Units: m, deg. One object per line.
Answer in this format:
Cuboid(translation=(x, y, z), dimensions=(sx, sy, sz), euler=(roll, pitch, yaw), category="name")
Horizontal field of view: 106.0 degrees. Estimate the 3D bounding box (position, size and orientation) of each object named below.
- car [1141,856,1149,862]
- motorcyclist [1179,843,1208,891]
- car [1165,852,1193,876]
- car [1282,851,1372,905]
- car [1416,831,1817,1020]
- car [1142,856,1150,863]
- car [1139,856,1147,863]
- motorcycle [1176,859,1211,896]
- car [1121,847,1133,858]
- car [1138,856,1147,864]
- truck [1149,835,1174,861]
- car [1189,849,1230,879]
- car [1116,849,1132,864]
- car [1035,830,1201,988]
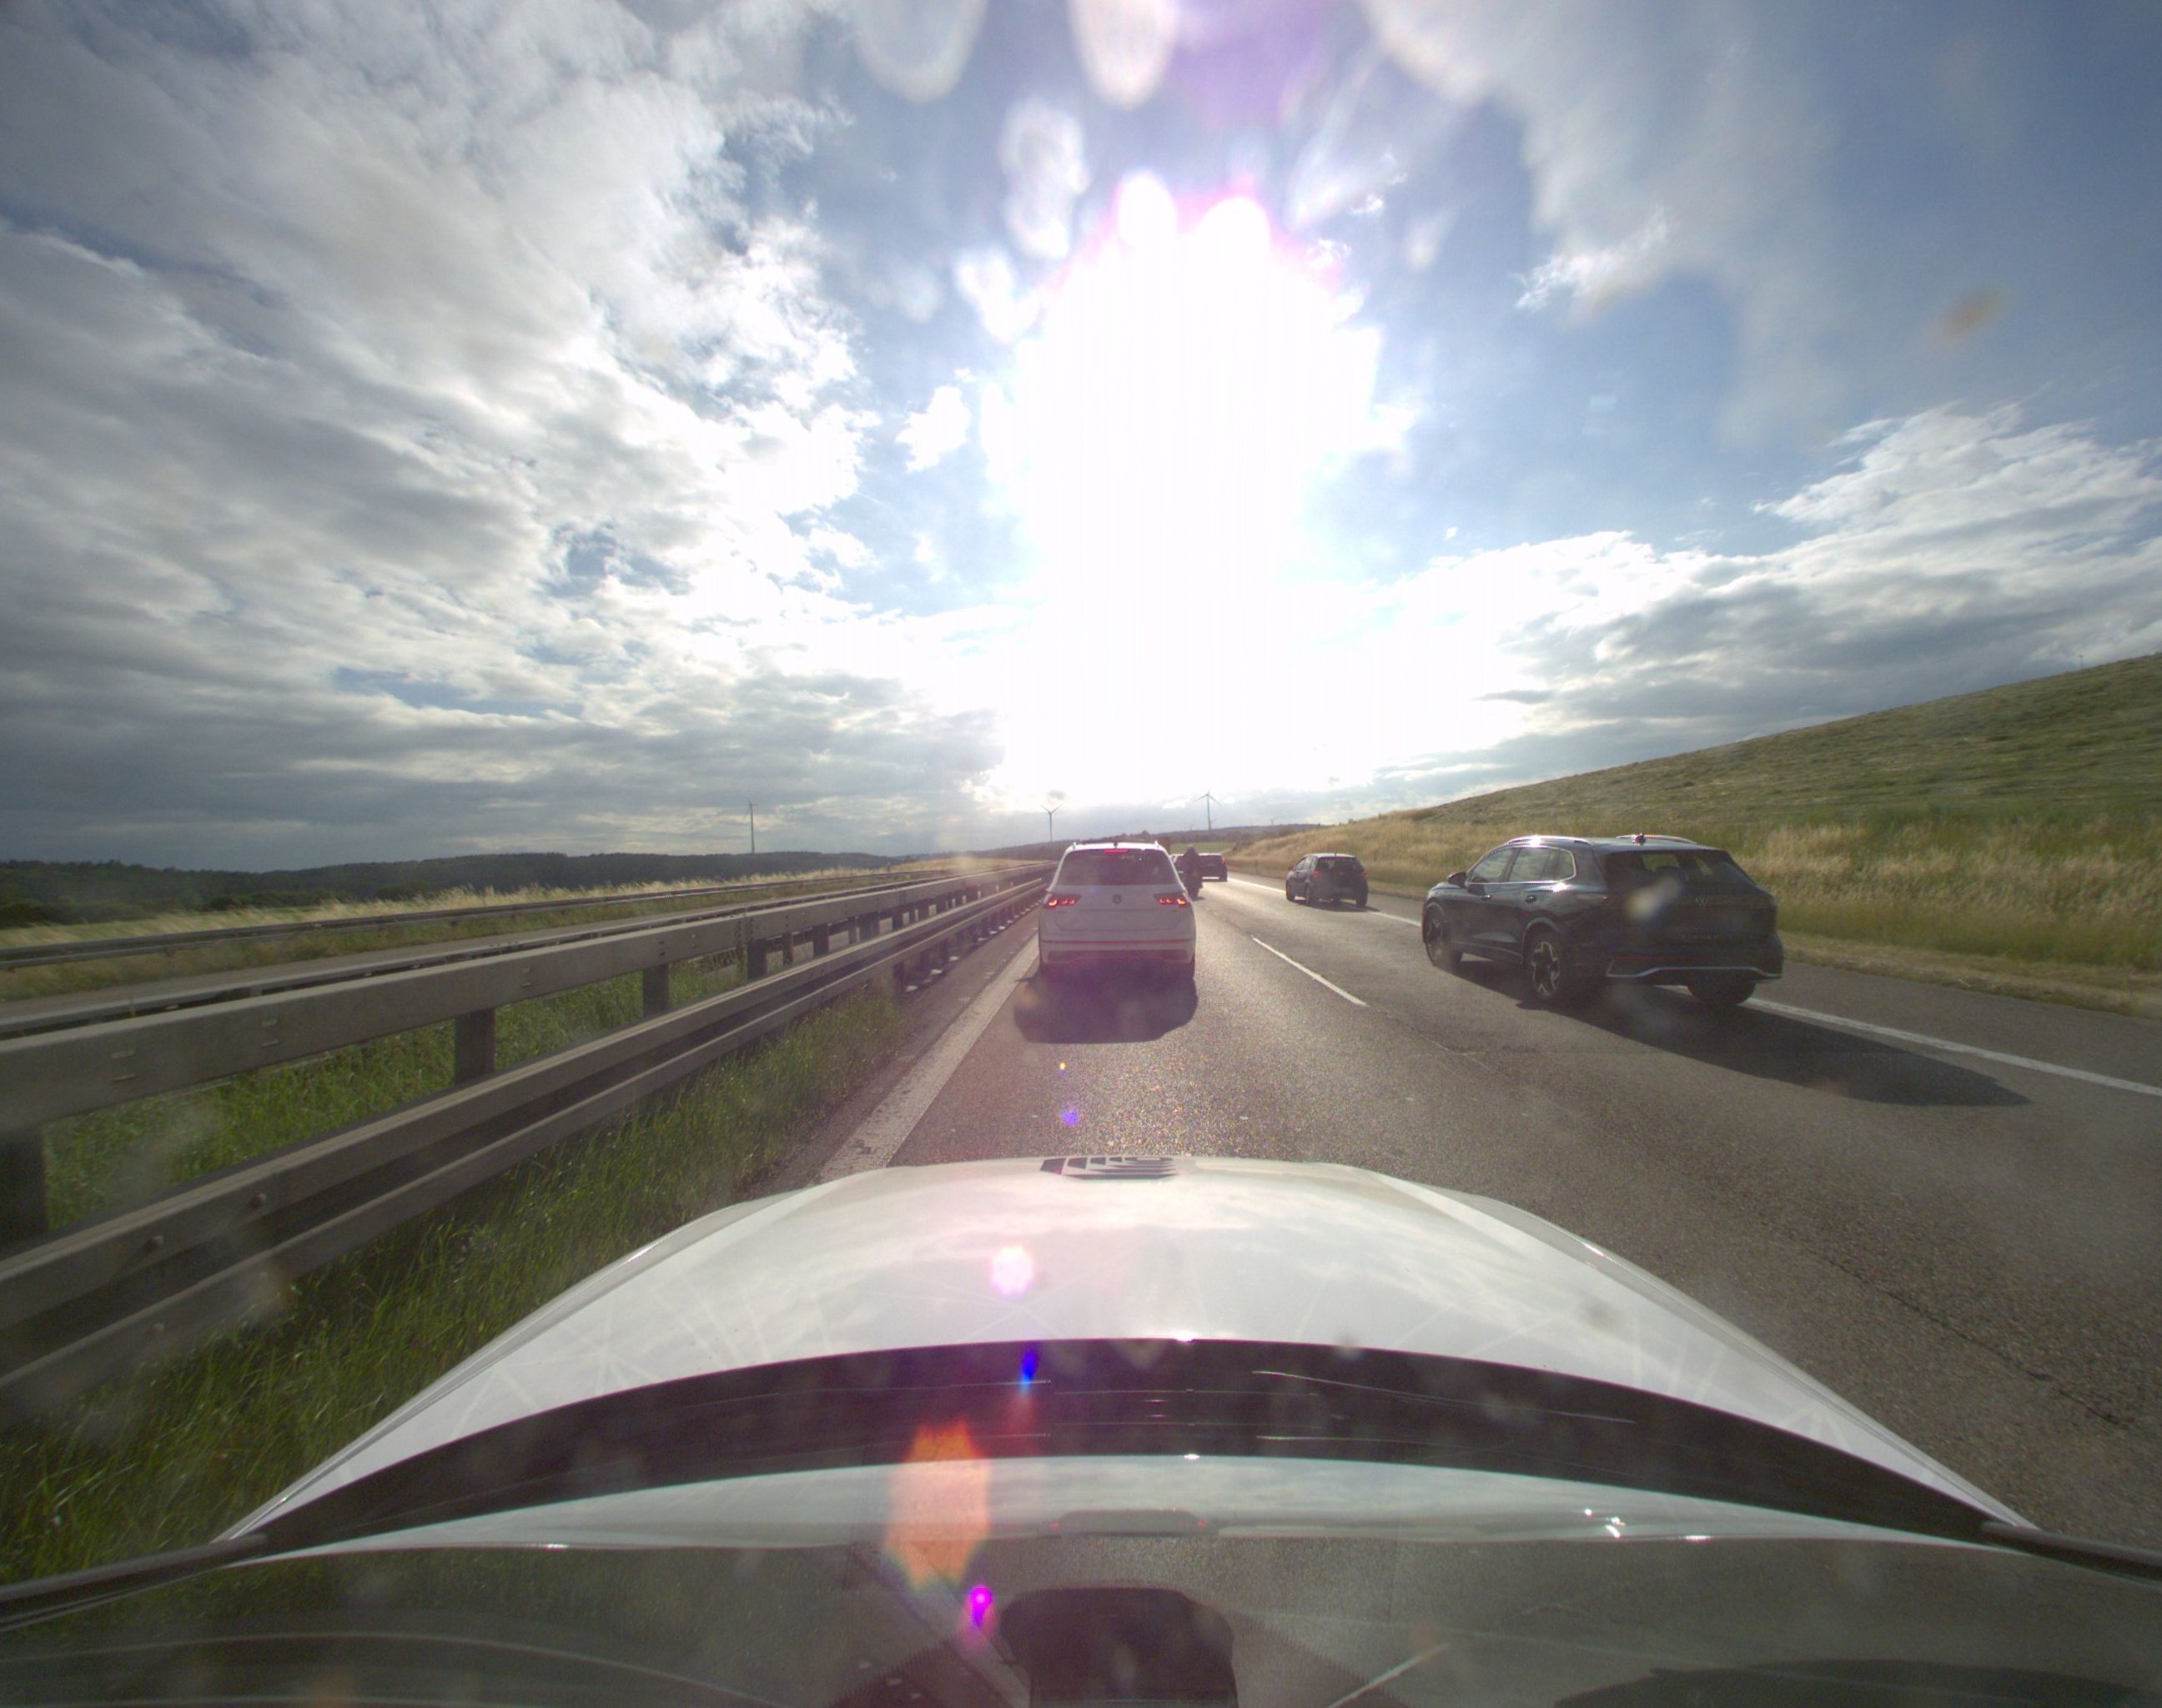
Cuboid(translation=(15.962, 1.307, 202.333), dimensions=(1.697, 1.546, 4.002), euler=(-1, 0, 2), category="car")
Cuboid(translation=(3.761, 0.428, 27.348), dimensions=(0.846, 1.560, 0.934), euler=(-1, -1, 1), category="motorcyclist")
Cuboid(translation=(7.266, 0.721, 60.534), dimensions=(1.697, 1.650, 4.002), euler=(-1, 0, 2), category="car")
Cuboid(translation=(7.041, 0.651, 23.670), dimensions=(1.599, 1.420, 3.674), euler=(-1, 0, 2), category="car")
Cuboid(translation=(5.447, 0.621, 9.085), dimensions=(1.814, 1.601, 4.236), euler=(0, 0, 2), category="car")
Cuboid(translation=(15.561, 1.279, 195.843), dimensions=(1.697, 1.546, 4.002), euler=(-1, 0, 2), category="car")
Cuboid(translation=(13.342, 1.209, 175.452), dimensions=(1.697, 1.546, 4.002), euler=(-1, 0, 2), category="car")
Cuboid(translation=(3.767, 0.760, 27.392), dimensions=(0.892, 1.190, 2.257), euler=(-1, 0, 1), category="motorcycle")
Cuboid(translation=(6.842, -0.243, 120.419), dimensions=(1.697, 1.546, 4.002), euler=(-1, 0, 2), category="car")
Cuboid(translation=(12.426, 1.169, 165.096), dimensions=(1.697, 1.546, 4.002), euler=(-1, 0, 2), category="car")
Cuboid(translation=(11.696, -0.827, 119.326), dimensions=(3.170, 3.593, 11.142), euler=(-1, 0, 4), category="truck")
Cuboid(translation=(6.999, 0.532, 44.613), dimensions=(1.697, 1.546, 4.002), euler=(-1, 0, 2), category="car")
Cuboid(translation=(4.727, 0.281, 90.393), dimensions=(1.697, 1.650, 4.002), euler=(-1, 0, 2), category="car")
Cuboid(translation=(0.470, 0.607, 10.840), dimensions=(1.763, 1.675, 4.002), euler=(-1, 0, 2), category="car")
